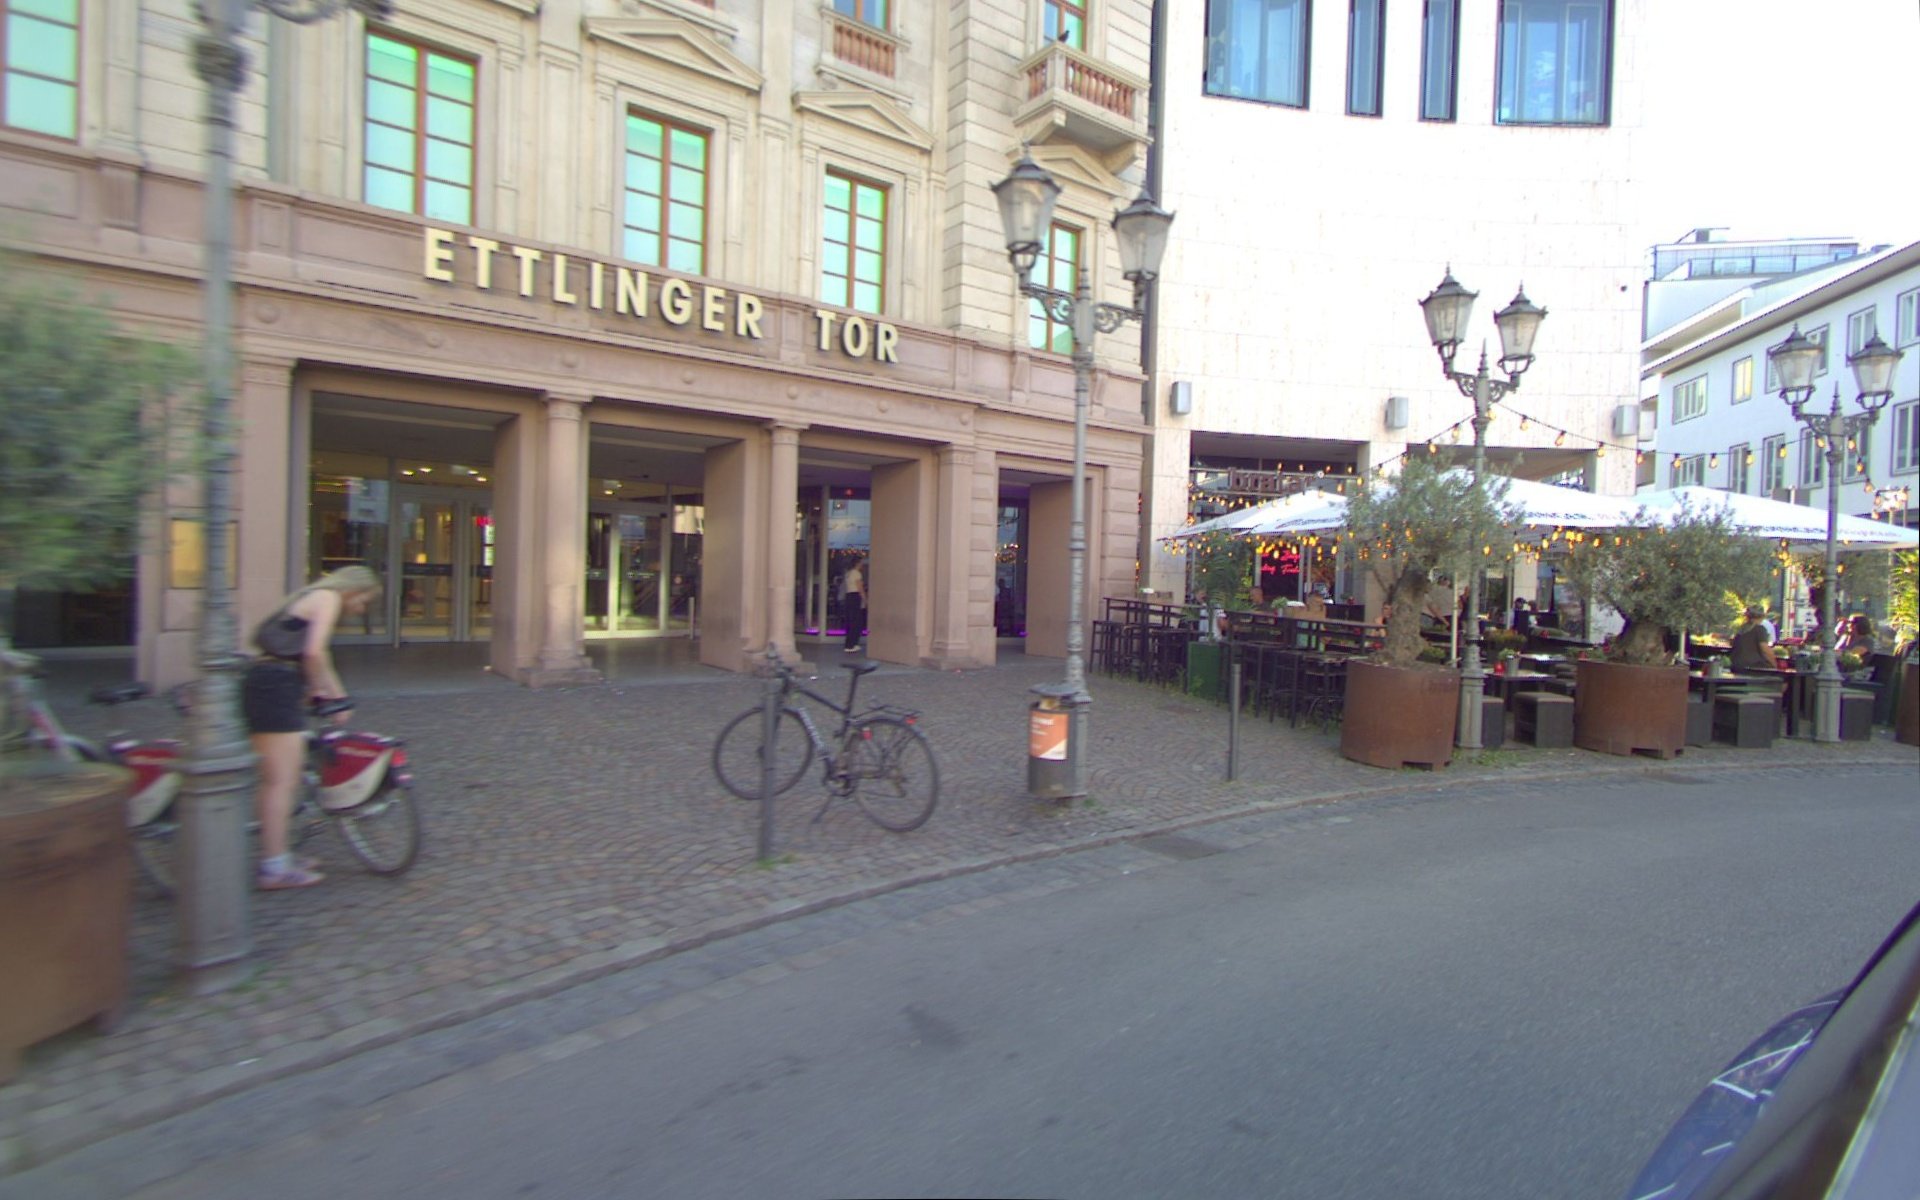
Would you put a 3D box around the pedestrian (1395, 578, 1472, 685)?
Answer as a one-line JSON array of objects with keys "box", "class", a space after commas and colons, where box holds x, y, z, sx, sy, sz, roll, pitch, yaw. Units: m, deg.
[{"box": [8.365, 0.533, 17.914, 0.963, 1.825, 0.729, 2, 1, -1], "class": "pedestrian"}]

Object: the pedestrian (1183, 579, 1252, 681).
[{"box": [3.837, 0.427, 15.129, 0.838, 1.465, 0.774, 2, 1, 6], "class": "pedestrian"}]

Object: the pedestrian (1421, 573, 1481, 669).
[{"box": [9.281, 0.387, 19.147, 0.703, 1.769, 0.710, 2, 1, -2], "class": "pedestrian"}]

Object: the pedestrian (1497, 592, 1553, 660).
[{"box": [11.881, 0.531, 21.287, 0.770, 1.365, 0.709, 2, 1, 6], "class": "pedestrian"}]

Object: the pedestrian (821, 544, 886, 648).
[{"box": [-1.874, -0.082, 17.736, 0.855, 1.769, 0.717, 1, 1, -35], "class": "pedestrian"}]

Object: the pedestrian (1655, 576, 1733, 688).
[{"box": [11.953, 0.498, 16.497, 0.704, 1.769, 0.709, 2, 1, 6], "class": "pedestrian"}]

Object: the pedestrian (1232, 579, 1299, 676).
[{"box": [4.798, 0.407, 15.948, 0.838, 1.465, 0.773, 2, 1, 8], "class": "pedestrian"}]

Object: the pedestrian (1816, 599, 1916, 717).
[{"box": [11.838, 0.732, 13.252, 0.684, 1.465, 0.720, 2, 1, 16], "class": "pedestrian"}]

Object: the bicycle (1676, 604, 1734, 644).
[{"box": [25.295, 0.797, 34.399, 0.787, 1.232, 2.223, 2, 1, 15], "class": "bicycle"}]

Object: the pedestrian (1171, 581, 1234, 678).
[{"box": [3.826, 0.440, 16.003, 0.838, 1.465, 0.773, 2, 1, 8], "class": "pedestrian"}]

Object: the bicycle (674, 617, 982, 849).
[{"box": [-0.866, 0.759, 6.392, 1.889, 1.142, 0.601, 4, 2, 28], "class": "bicycle"}]

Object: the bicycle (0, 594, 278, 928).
[{"box": [-3.977, 0.609, 4.422, 1.881, 1.142, 0.604, 4, 2, 18], "class": "bicycle"}]

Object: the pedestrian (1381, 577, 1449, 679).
[{"box": [8.344, 0.500, 18.578, 0.833, 1.825, 0.730, 2, 1, -2], "class": "pedestrian"}]

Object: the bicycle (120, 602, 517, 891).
[{"box": [-3.212, 0.649, 5.056, 1.882, 1.142, 0.604, 4, 2, 19], "class": "bicycle"}]

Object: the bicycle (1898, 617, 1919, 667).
[{"box": [22.887, 1.011, 23.562, 0.514, 1.156, 1.959, 2, 1, 9], "class": "bicycle"}]

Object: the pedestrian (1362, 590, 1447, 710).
[{"box": [5.704, 0.614, 13.035, 0.853, 1.465, 0.720, 2, 1, 16], "class": "pedestrian"}]

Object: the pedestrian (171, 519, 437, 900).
[{"box": [-3.026, 0.455, 4.728, 0.703, 1.608, 0.748, 2, 1, 10], "class": "pedestrian"}]

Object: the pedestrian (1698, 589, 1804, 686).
[{"box": [12.715, 0.580, 16.310, 0.929, 1.465, 0.969, 2, 1, 7], "class": "pedestrian"}]

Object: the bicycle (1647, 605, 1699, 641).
[{"box": [26.503, 0.823, 37.656, 0.787, 1.232, 2.223, 2, 1, 15], "class": "bicycle"}]

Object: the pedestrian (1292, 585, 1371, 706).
[{"box": [4.738, 0.551, 12.964, 0.853, 1.465, 0.720, 2, 1, 16], "class": "pedestrian"}]

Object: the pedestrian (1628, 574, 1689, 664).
[{"box": [14.148, 0.376, 20.509, 0.704, 1.769, 0.708, 2, 1, 8], "class": "pedestrian"}]

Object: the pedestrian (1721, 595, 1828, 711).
[{"box": [10.882, 0.678, 13.547, 0.853, 1.465, 0.720, 2, 1, 16], "class": "pedestrian"}]

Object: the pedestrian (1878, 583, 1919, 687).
[{"box": [16.834, 0.605, 17.666, 0.903, 1.762, 0.935, 1, 1, -32], "class": "pedestrian"}]
